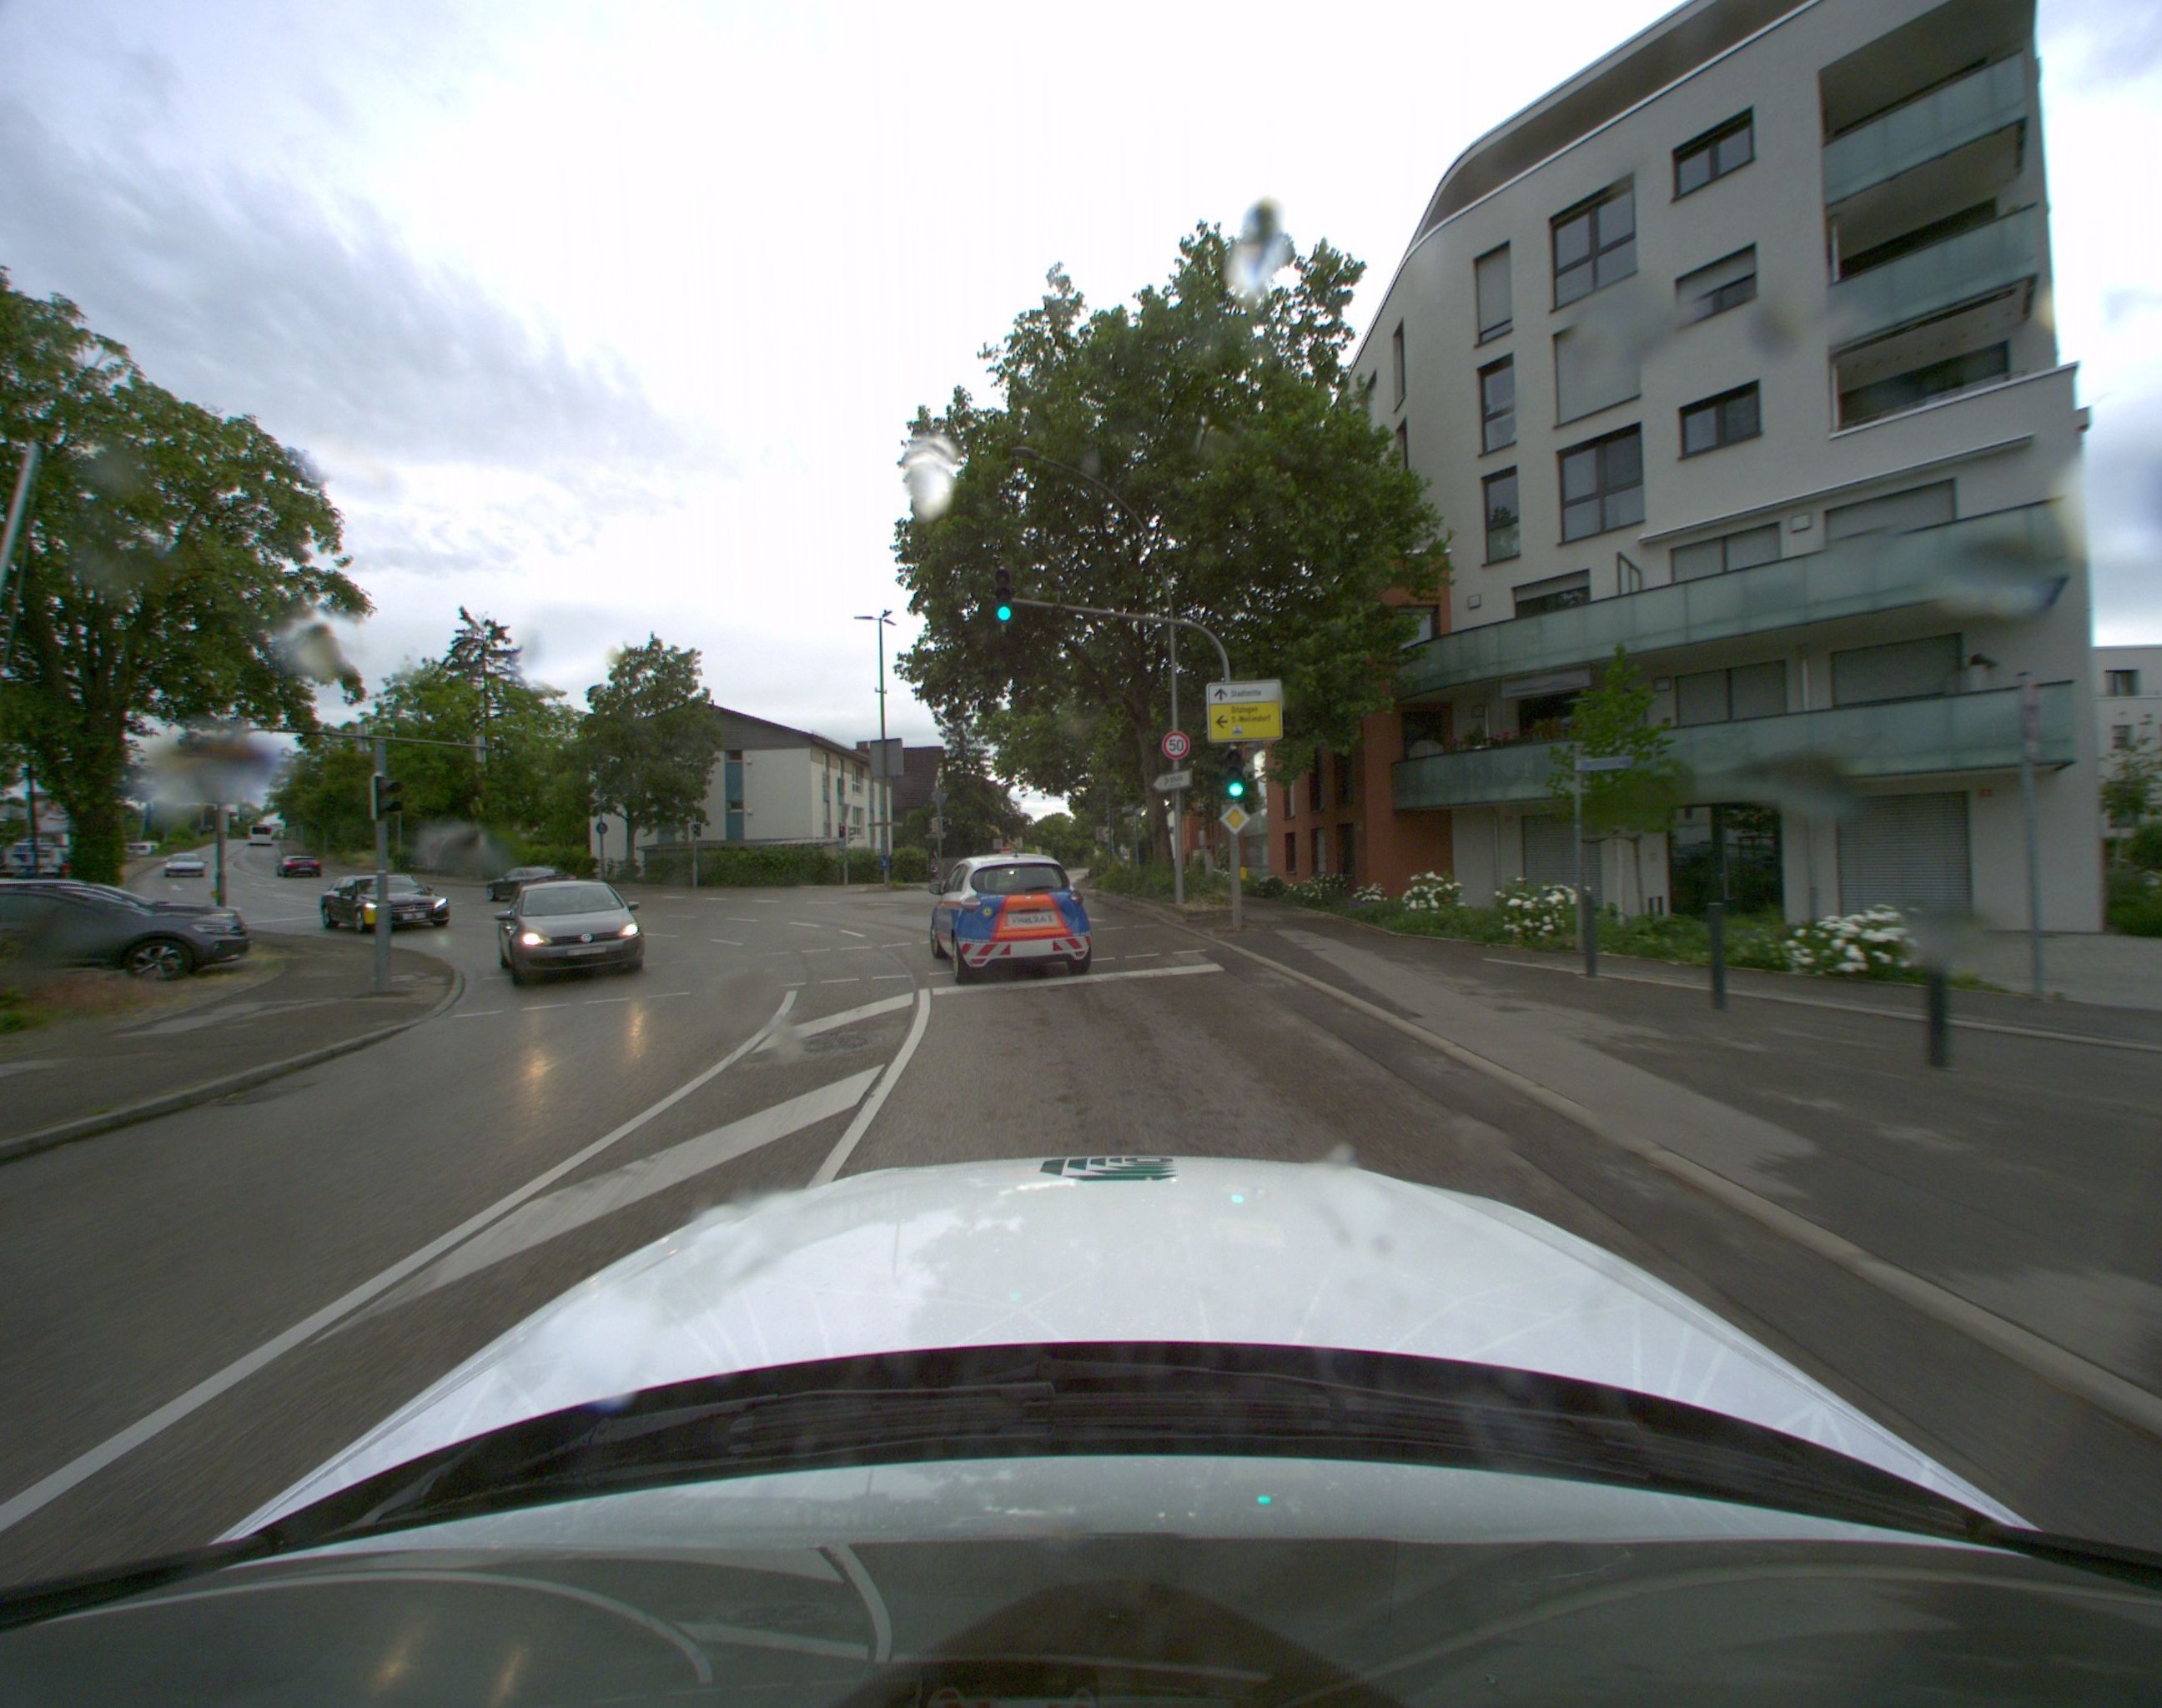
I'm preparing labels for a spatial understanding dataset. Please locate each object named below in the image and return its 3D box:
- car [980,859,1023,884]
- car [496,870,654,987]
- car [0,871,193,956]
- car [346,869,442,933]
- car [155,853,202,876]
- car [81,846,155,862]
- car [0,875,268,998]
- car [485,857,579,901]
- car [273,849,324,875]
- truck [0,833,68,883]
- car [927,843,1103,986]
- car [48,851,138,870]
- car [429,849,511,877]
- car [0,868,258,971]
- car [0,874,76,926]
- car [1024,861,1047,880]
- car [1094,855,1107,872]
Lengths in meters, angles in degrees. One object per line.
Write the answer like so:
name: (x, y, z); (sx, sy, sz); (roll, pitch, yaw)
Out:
car: (-4.656, 1.021, 48.306); (1.934, 1.452, 4.302); (0, -1, 3)
car: (-8.503, 1.095, 13.526); (1.738, 1.456, 3.955); (-5, 3, -38)
car: (-21.097, 1.187, 16.478); (1.734, 1.510, 4.026); (0, 1, 36)
car: (-18.995, 1.232, 22.664); (1.720, 1.392, 4.302); (-3, 2, -36)
car: (-58.029, 0.670, 52.347); (3.659, 1.404, 1.602); (0, 1, 35)
car: (-102.556, -0.004, 86.803); (1.797, 1.623, 4.787); (-1, 0, 11)
car: (-15.216, 1.212, 12.215); (4.001, 1.490, 1.737); (-3, 3, -38)
car: (-21.571, 0.923, 31.937); (3.949, 1.574, 2.013); (0, 1, 40)
car: (-52.430, 0.528, 54.530); (3.949, 1.684, 2.013); (0, 1, 40)
truck: (-56.071, 0.175, 43.592); (5.488, 2.539, 2.012); (1, 1, 42)
car: (-1.109, 0.693, 11.469); (1.749, 1.581, 3.980); (-2, 0, -15)
car: (-73.375, 0.478, 60.527); (1.791, 1.376, 4.025); (-1, 0, 32)
car: (-40.378, 0.566, 53.856); (1.975, 1.723, 4.025); (0, 1, 41)
car: (-18.567, 1.180, 15.423); (1.735, 1.554, 4.026); (1, 3, 41)
car: (-32.541, 1.345, 23.552); (1.746, 1.522, 4.004); (0, -2, 4)
car: (-4.110, 1.511, 74.518); (1.871, 1.669, 3.713); (-1, 0, -1)
car: (2.516, 1.201, 104.515); (1.637, 2.017, 3.717); (-1, 1, 2)
